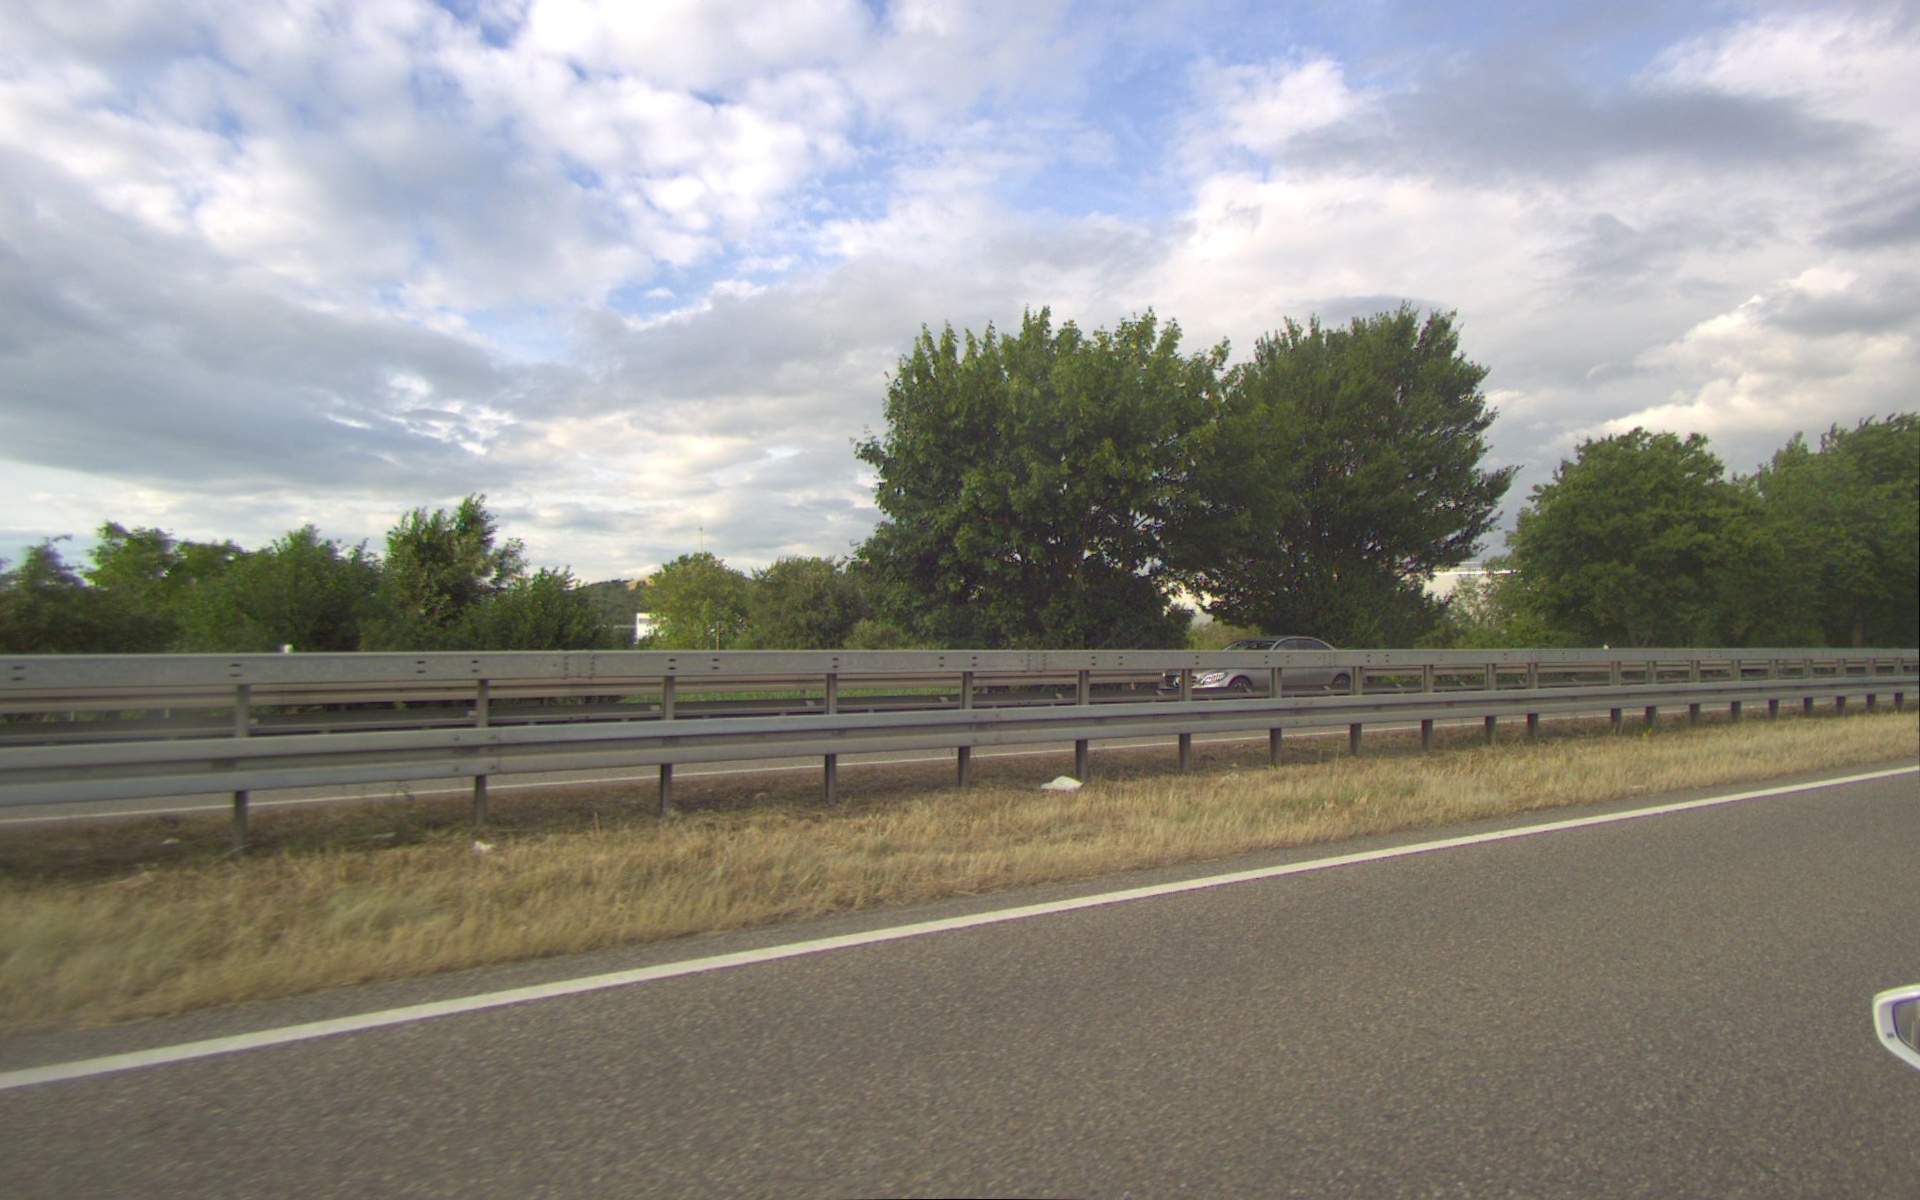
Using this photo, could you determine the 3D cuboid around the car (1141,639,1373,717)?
[{"bbox_3d":[5.874,1.467,19.718,4.523,1.369,1.773,2,-2,-30],"label":"car"}]
